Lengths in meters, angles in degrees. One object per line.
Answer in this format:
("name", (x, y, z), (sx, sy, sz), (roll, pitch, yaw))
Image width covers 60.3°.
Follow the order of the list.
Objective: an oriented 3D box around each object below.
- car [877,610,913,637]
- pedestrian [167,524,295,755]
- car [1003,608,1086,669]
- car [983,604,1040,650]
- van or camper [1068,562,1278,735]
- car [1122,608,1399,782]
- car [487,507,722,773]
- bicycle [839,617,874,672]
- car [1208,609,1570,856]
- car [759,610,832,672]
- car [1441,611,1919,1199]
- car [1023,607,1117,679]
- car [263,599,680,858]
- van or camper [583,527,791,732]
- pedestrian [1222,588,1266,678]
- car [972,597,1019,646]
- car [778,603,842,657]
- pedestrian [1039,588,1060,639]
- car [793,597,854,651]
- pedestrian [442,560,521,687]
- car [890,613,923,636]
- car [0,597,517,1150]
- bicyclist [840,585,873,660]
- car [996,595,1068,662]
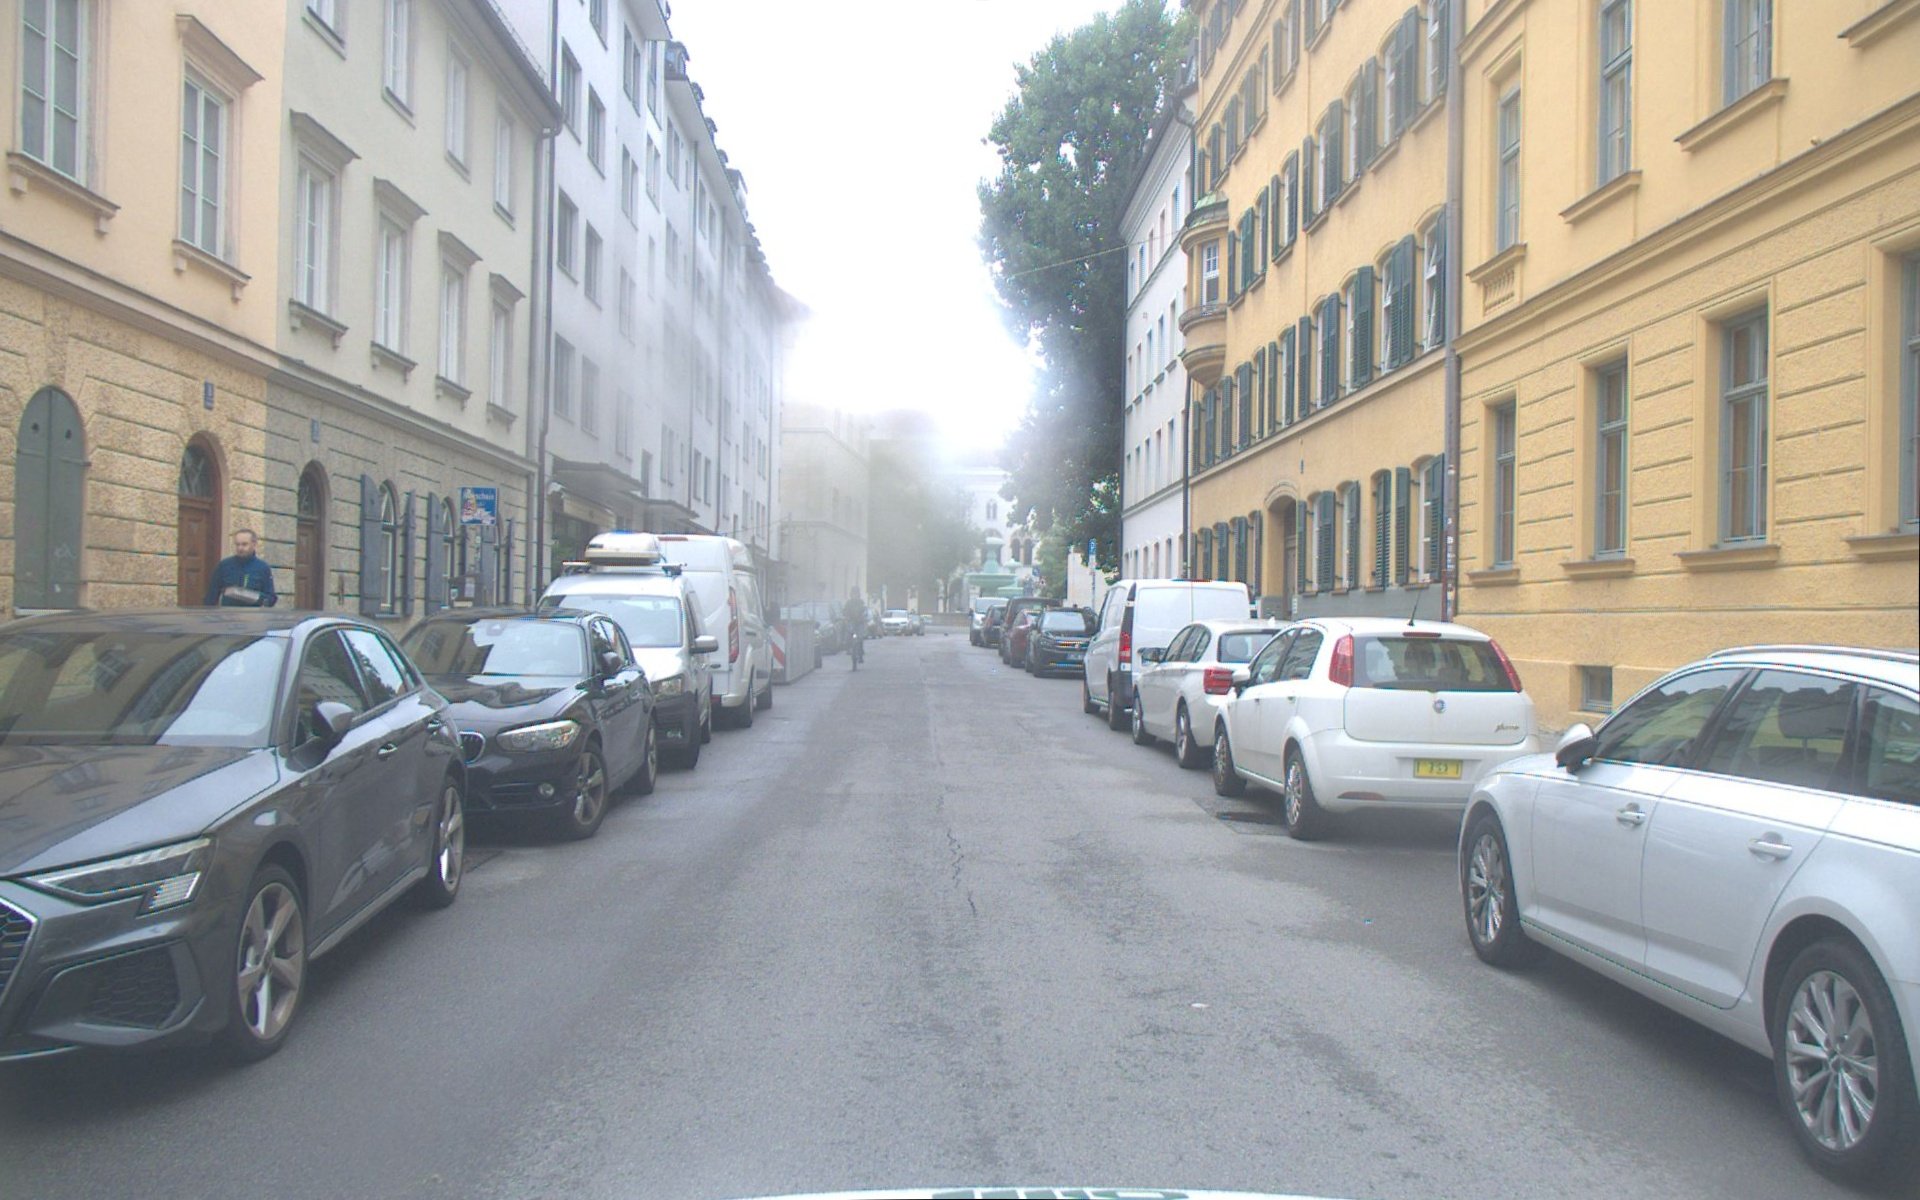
("car", (-3.853, 1.396, 98.472), (1.741, 1.562, 4.212), (0, -2, 3))
("pedestrian", (-6.648, 0.351, 15.118), (0.789, 2.049, 0.750), (1, 0, 0))
("car", (2.112, 0.964, 42.411), (1.679, 1.449, 4.455), (1, -1, -3))
("car", (1.926, 1.011, 63.369), (1.772, 1.628, 4.212), (2, -1, -3))
("van or camper", (2.739, 0.591, 22.558), (1.953, 2.049, 5.230), (1, 0, -3))
("car", (2.941, 0.875, 17.225), (1.780, 1.536, 4.584), (1, 0, -4))
("car", (-3.381, 0.356, 16.530), (1.822, 2.240, 4.554), (2, 0, -7))
("bicycle", (-2.344, 0.993, 37.510), (0.718, 1.171, 1.998), (1, 0, -3))
("car", (3.015, 0.855, 12.408), (1.591, 1.536, 3.759), (1, 0, -2))
("car", (-4.044, 0.957, 40.149), (1.608, 1.378, 4.051), (0, 0, -8))
("car", (3.214, 0.827, 5.727), (1.682, 1.536, 4.467), (1, 0, -2))
("car", (2.398, 0.921, 37.016), (1.710, 1.489, 3.999), (1, 0, -2))
("car", (-3.145, 0.747, 11.581), (1.820, 1.426, 4.266), (2, 0, -3))
("van or camper", (-3.474, 0.349, 22.112), (1.953, 2.352, 5.476), (1, 0, -1))
("pedestrian", (5.355, 0.612, 31.238), (0.585, 1.667, 0.895), (-2, 0, -4))
("car", (1.462, 0.887, 69.353), (1.843, 1.958, 4.874), (1, -1, 1))
("car", (-4.523, 0.878, 50.358), (1.738, 1.566, 4.157), (0, 0, -2))
("pedestrian", (3.980, 0.617, 73.706), (0.777, 2.236, 0.813), (2, -1, -2))
("car", (-4.574, 0.777, 56.012), (1.834, 1.717, 4.518), (0, 0, -2))
("pedestrian", (-6.763, 0.330, 23.396), (0.789, 1.742, 1.021), (1, 0, 0))
("car", (-3.348, 1.590, 104.866), (1.663, 1.417, 4.213), (0, -2, 4))
("car", (-3.139, 0.732, 6.496), (1.820, 1.426, 4.266), (2, 0, -3))
("bicyclist", (-2.345, 0.510, 37.613), (0.672, 1.656, 0.852), (2, -1, -3))
("car", (2.084, 0.847, 49.115), (1.809, 1.807, 4.200), (3, -1, -1))
